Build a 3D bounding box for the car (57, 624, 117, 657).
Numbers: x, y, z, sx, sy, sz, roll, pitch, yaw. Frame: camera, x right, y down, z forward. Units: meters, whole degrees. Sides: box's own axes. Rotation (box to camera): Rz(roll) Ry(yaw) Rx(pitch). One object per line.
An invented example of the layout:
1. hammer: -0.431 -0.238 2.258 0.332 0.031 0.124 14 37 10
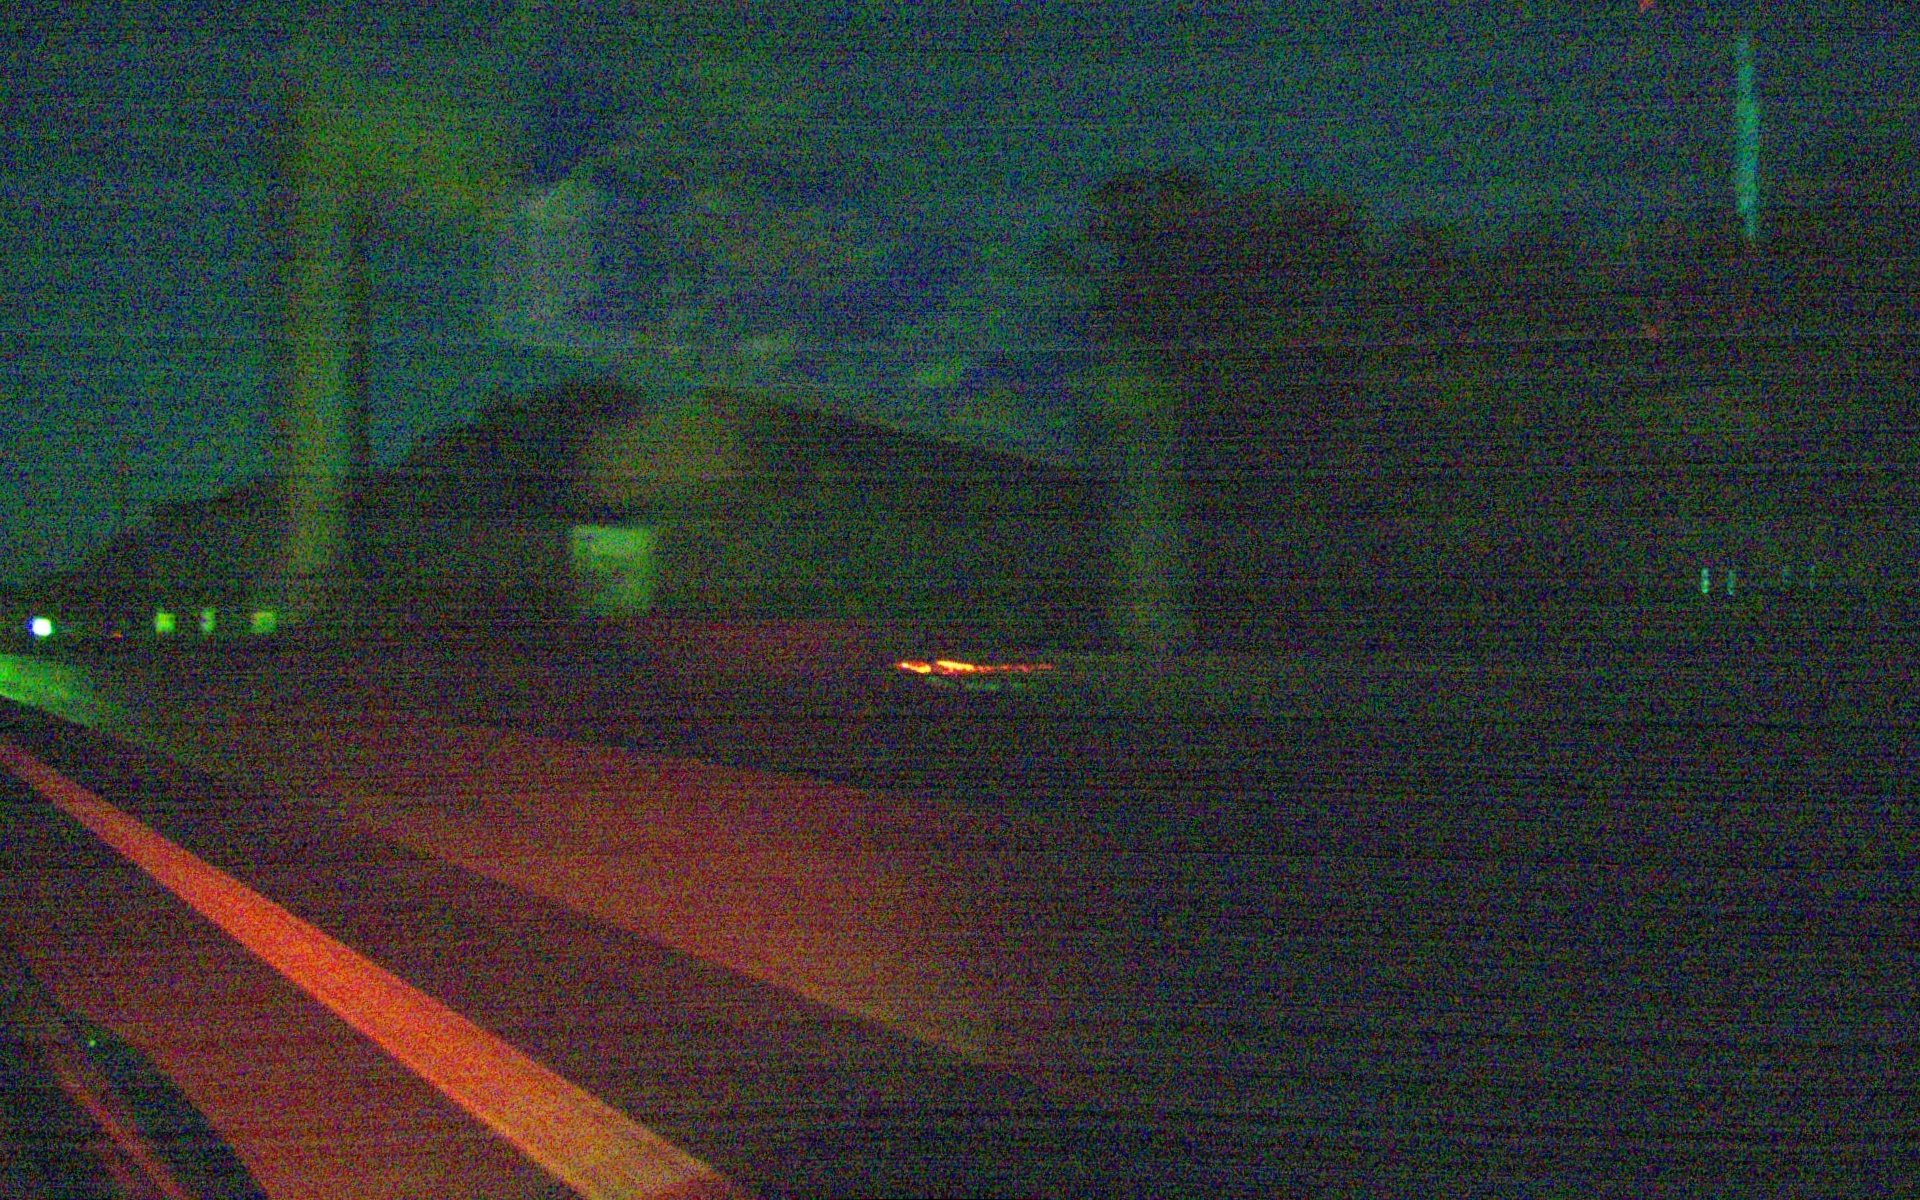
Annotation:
1. car: -54.318 2.552 62.936 5.452 1.937 1.888 -3 -4 40
